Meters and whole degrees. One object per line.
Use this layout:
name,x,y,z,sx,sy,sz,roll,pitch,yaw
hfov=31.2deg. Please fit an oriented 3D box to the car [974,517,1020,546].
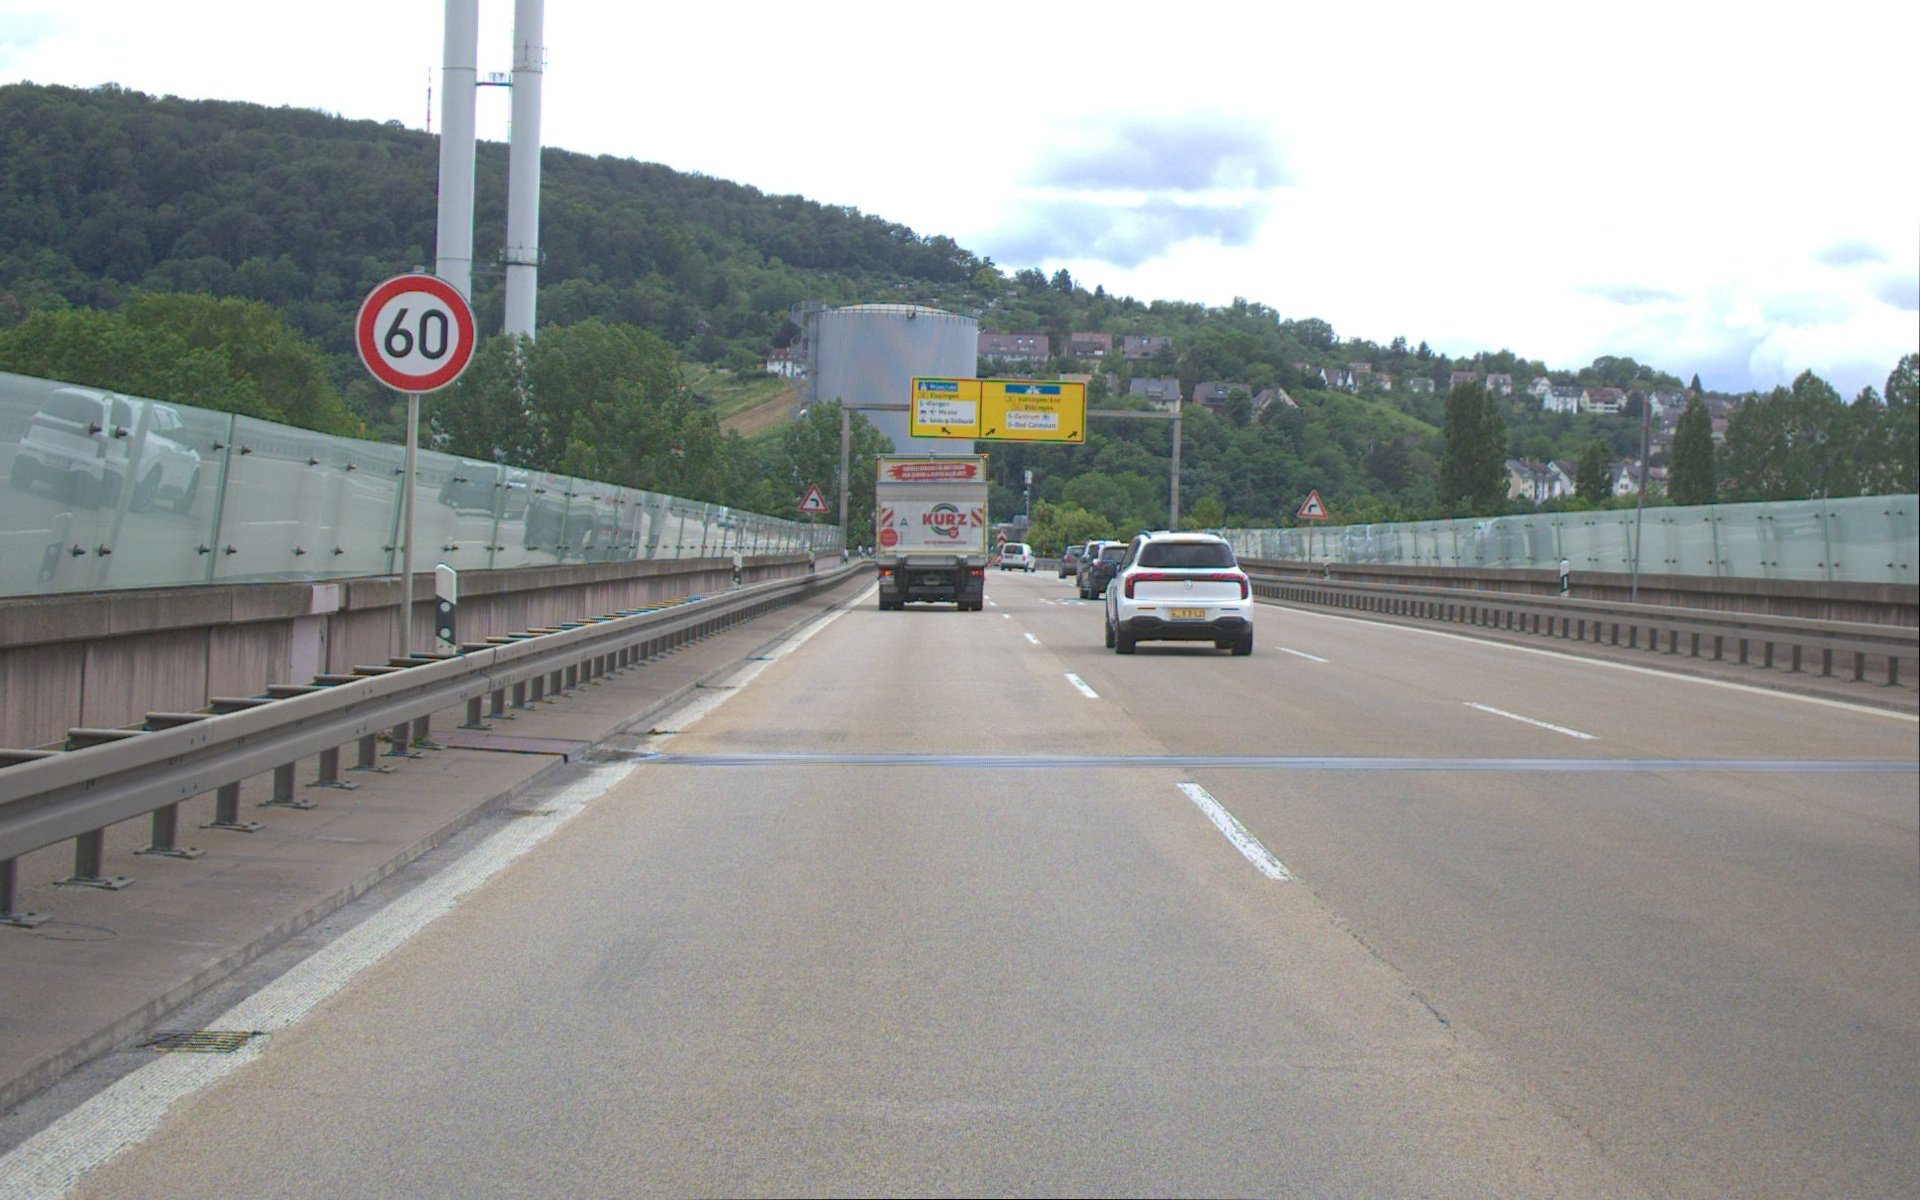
car,2.605,-4.746,239.471,2.474,1.973,5.158,1,1,9

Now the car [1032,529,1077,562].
car,4.215,-2.429,152.935,1.924,1.429,4.113,1,1,3

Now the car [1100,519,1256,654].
car,3.001,-0.225,48.080,1.924,1.779,4.113,1,1,0

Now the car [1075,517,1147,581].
car,4.364,-1.501,99.805,1.924,1.779,4.113,1,1,0

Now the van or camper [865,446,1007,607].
van or camper,-0.473,-1.702,80.974,3.122,3.567,8.550,1,1,1
